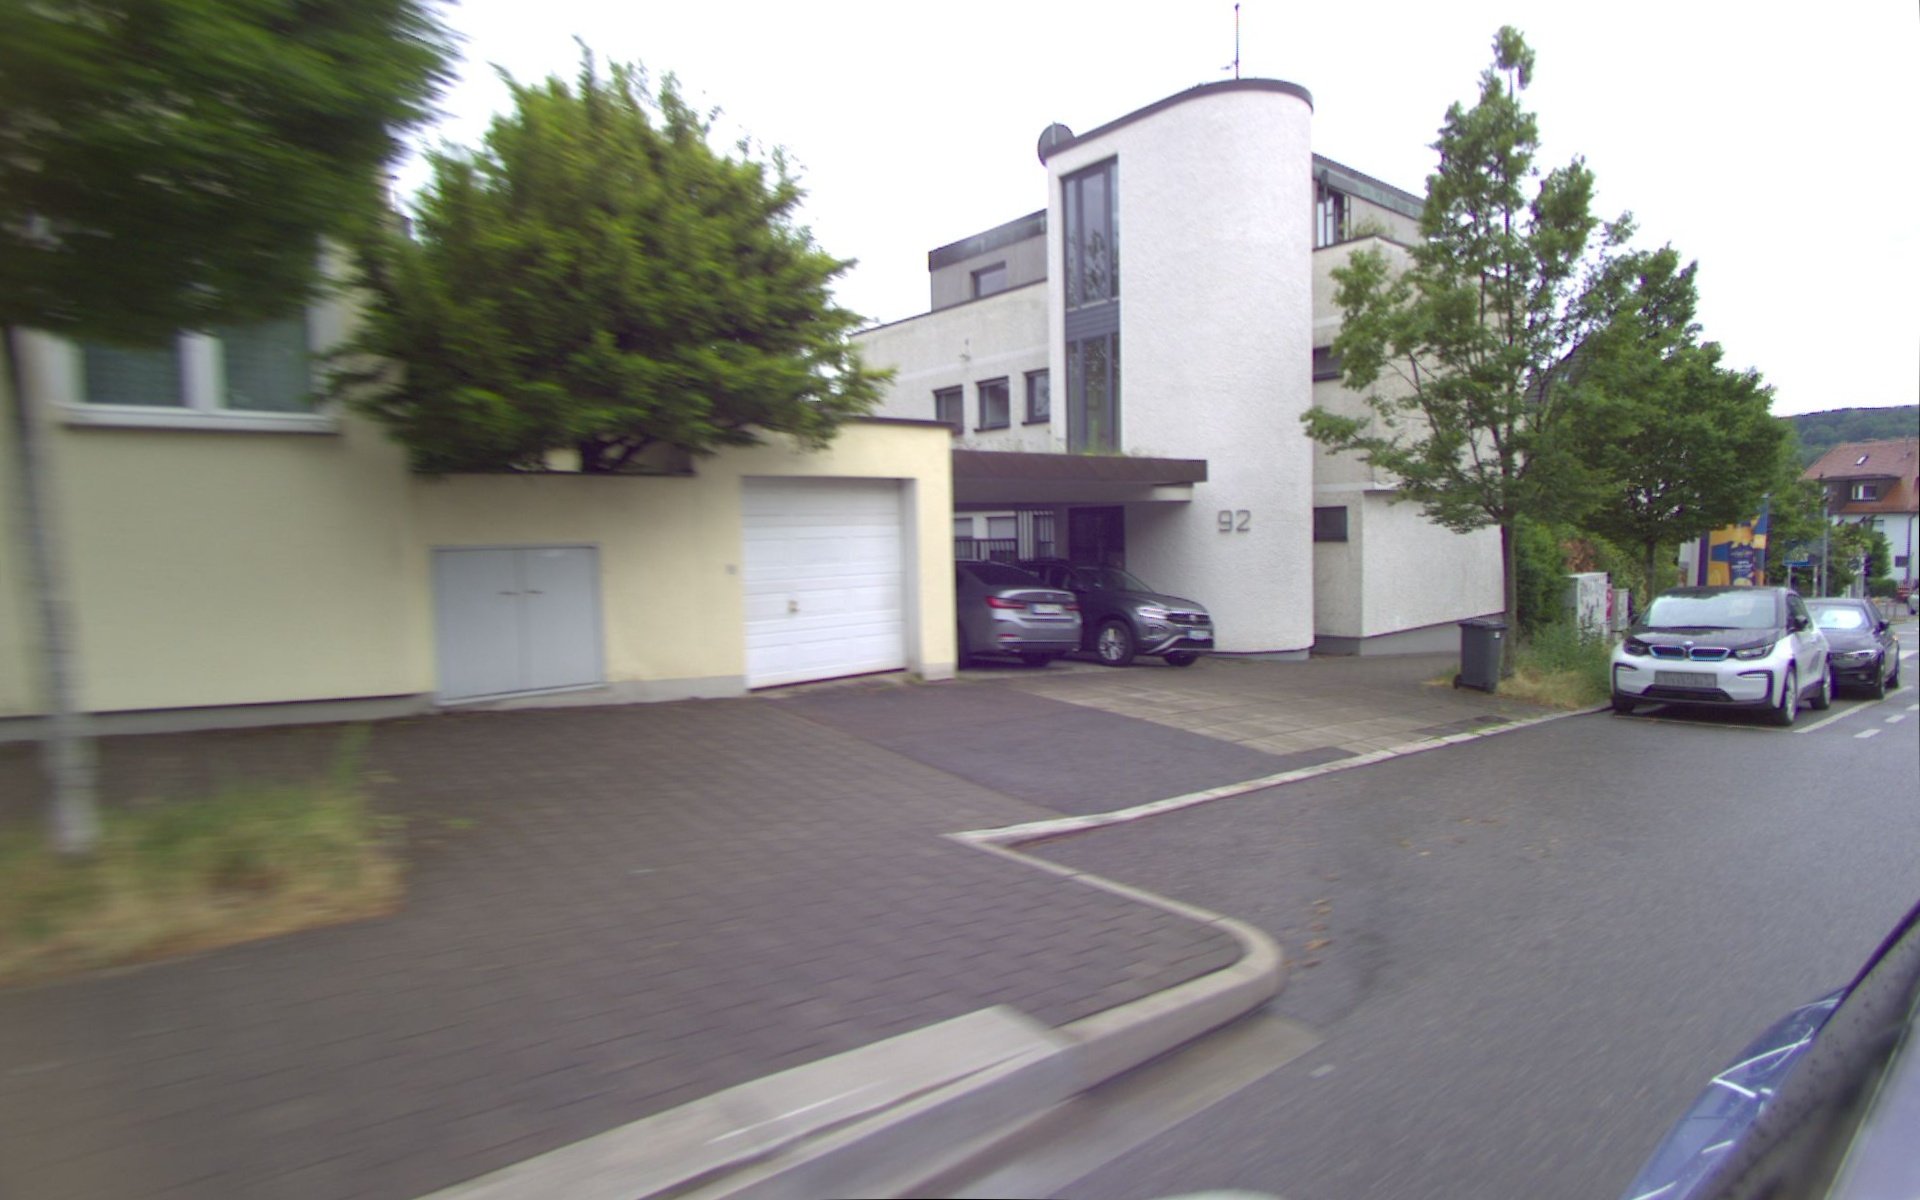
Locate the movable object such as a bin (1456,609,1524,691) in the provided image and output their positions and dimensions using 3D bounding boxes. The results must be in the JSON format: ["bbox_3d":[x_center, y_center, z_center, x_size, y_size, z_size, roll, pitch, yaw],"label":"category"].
[{"bbox_3d":[6.899,0.636,13.178,0.593,0.986,0.488,1,5,-34],"label":"movable object such as a bin"}]

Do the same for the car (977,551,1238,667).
[{"bbox_3d":[2.123,0.083,15.339,1.750,1.526,3.709,1,1,-39],"label":"car"}]

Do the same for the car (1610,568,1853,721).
[{"bbox_3d":[9.839,0.480,12.797,4.049,1.628,1.731,0,-1,-42],"label":"car"}]

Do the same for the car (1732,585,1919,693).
[{"bbox_3d":[13.851,0.522,16.081,4.799,1.457,1.780,0,0,-43],"label":"car"}]

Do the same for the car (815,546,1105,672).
[{"bbox_3d":[-0.154,0.091,14.323,1.797,1.499,4.307,1,0,-39],"label":"car"}]
